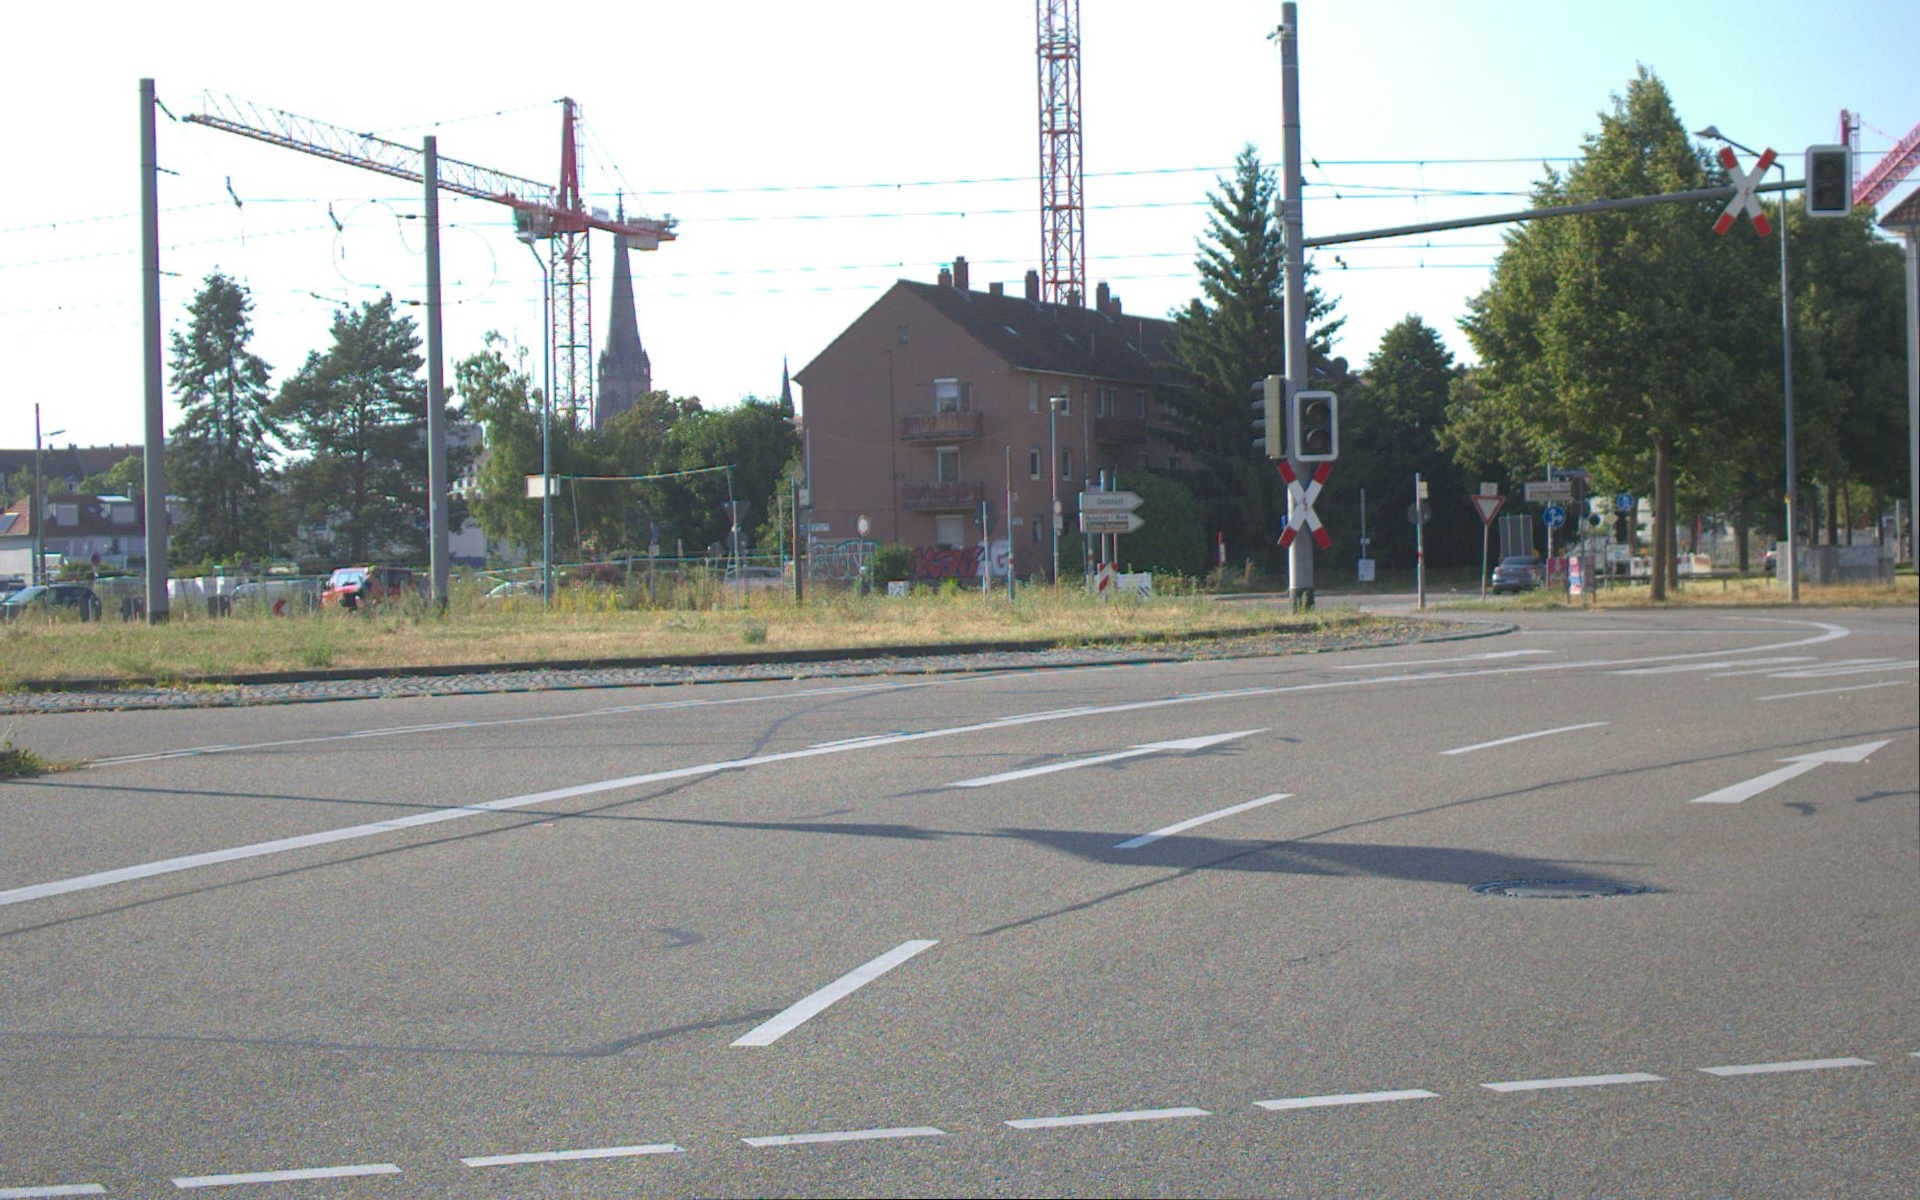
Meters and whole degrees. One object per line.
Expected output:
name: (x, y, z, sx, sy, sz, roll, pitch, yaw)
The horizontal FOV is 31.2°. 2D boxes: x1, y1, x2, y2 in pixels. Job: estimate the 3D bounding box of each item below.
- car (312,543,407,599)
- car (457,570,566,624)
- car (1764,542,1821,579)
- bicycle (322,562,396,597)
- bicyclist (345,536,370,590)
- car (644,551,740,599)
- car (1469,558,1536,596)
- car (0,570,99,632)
car: (-20.316, -0.981, 116.226, 1.919, 1.847, 4.000, -2, 1, -29)
car: (-17.295, -0.122, 132.581, 3.812, 2.007, 1.670, -1, 0, 19)
car: (41.397, -1.941, 170.901, 1.996, 1.774, 3.995, 1, 1, 24)
bicycle: (-16.773, -0.571, 96.002, 1.987, 0.915, 0.430, -1, 1, -6)
bicyclist: (-16.811, -1.040, 95.989, 0.622, 1.506, 0.419, -1, 1, -5)
car: (-11.641, -1.071, 149.361, 3.812, 2.007, 1.670, -1, 0, 19)
car: (19.830, -0.864, 125.541, 1.457, 1.295, 3.544, -1, 1, 25)
car: (-28.676, 0.022, 105.328, 3.987, 1.809, 2.000, -2, 1, -32)
